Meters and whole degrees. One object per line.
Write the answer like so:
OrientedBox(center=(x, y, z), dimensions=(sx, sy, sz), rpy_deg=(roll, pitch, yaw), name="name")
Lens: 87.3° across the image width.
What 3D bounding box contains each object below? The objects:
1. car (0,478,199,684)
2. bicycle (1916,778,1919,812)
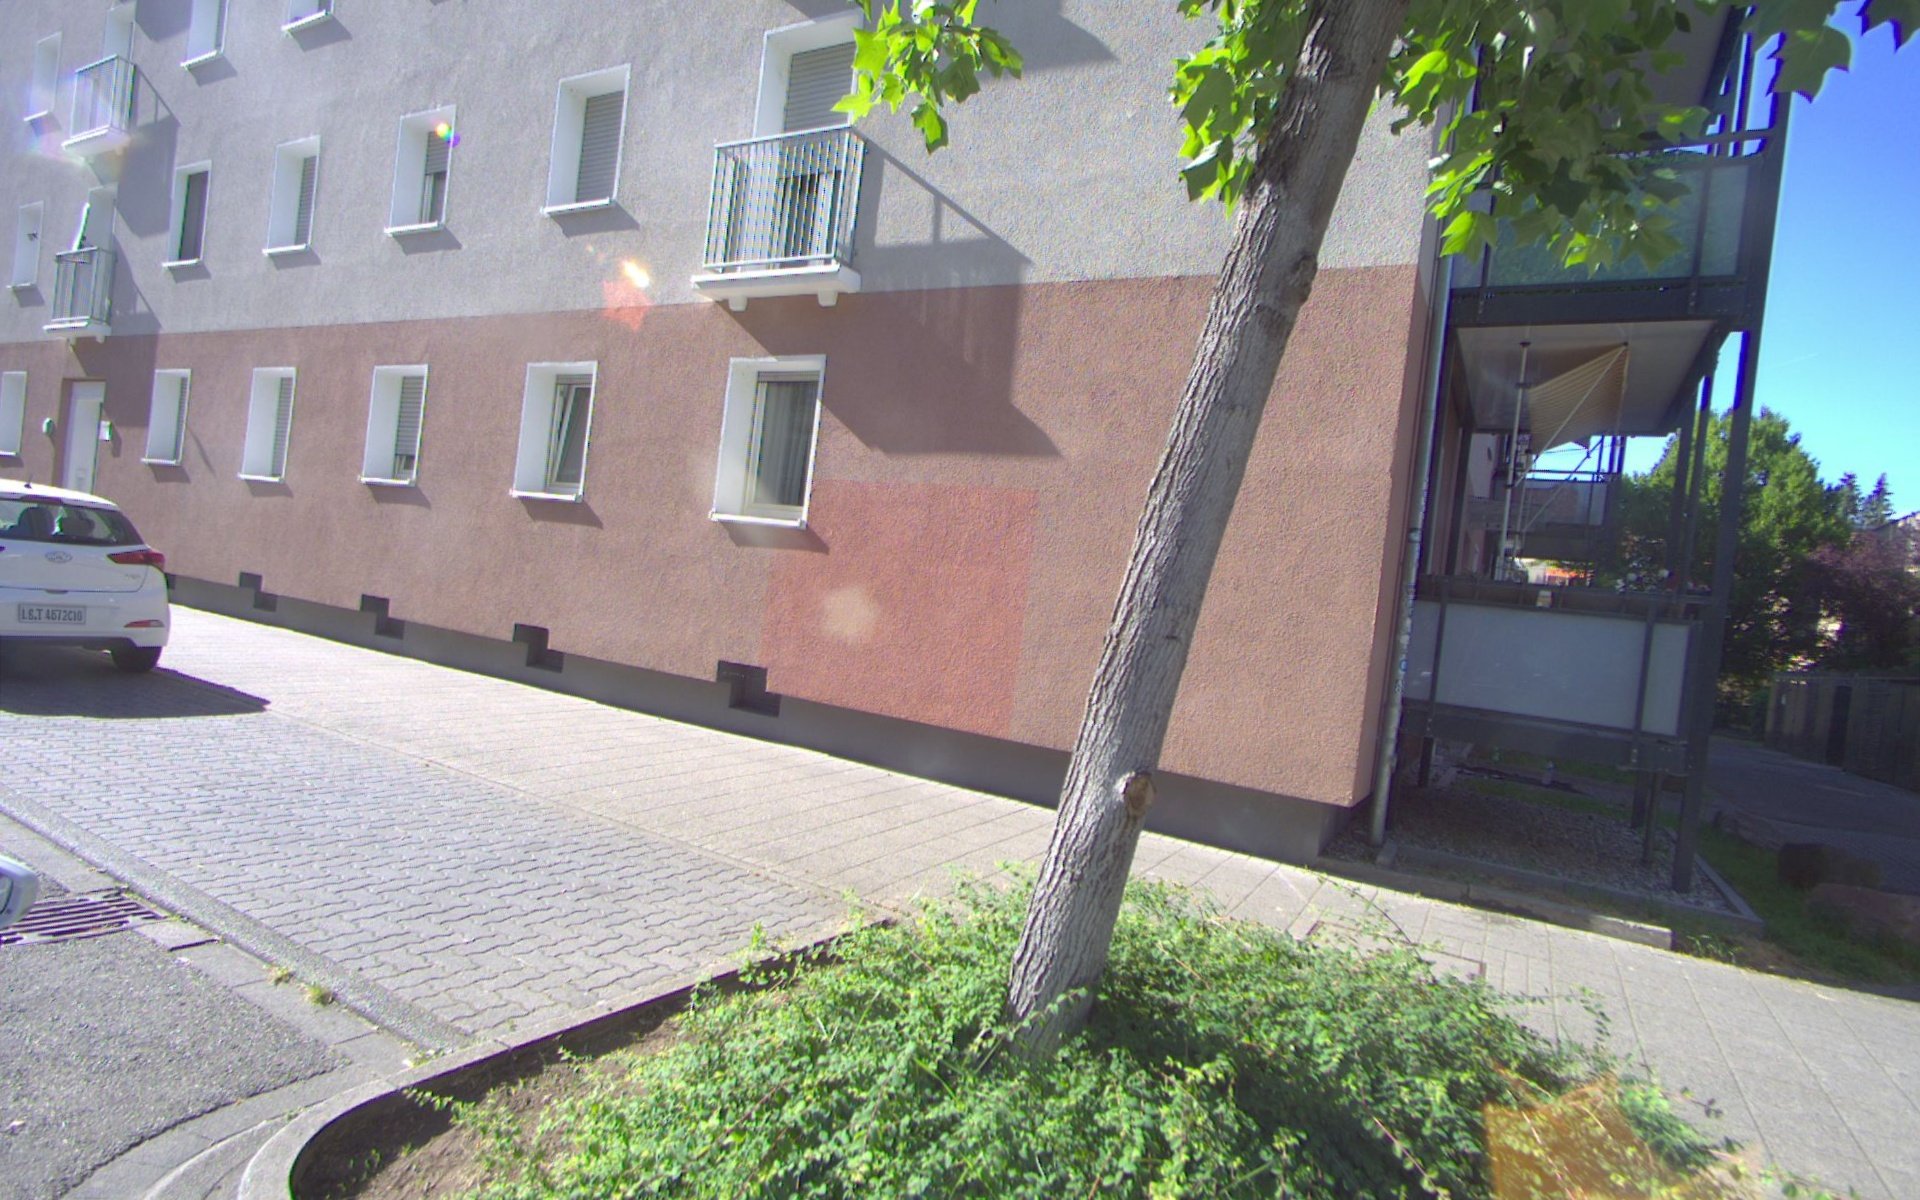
OrientedBox(center=(-8.435, -0.312, 8.540), dimensions=(3.729, 1.505, 1.733), rpy_deg=(7, 2, 29), name="car")
OrientedBox(center=(15.531, 2.741, 15.145), dimensions=(1.455, 1.220, 0.556), rpy_deg=(7, 1, 32), name="bicycle")
